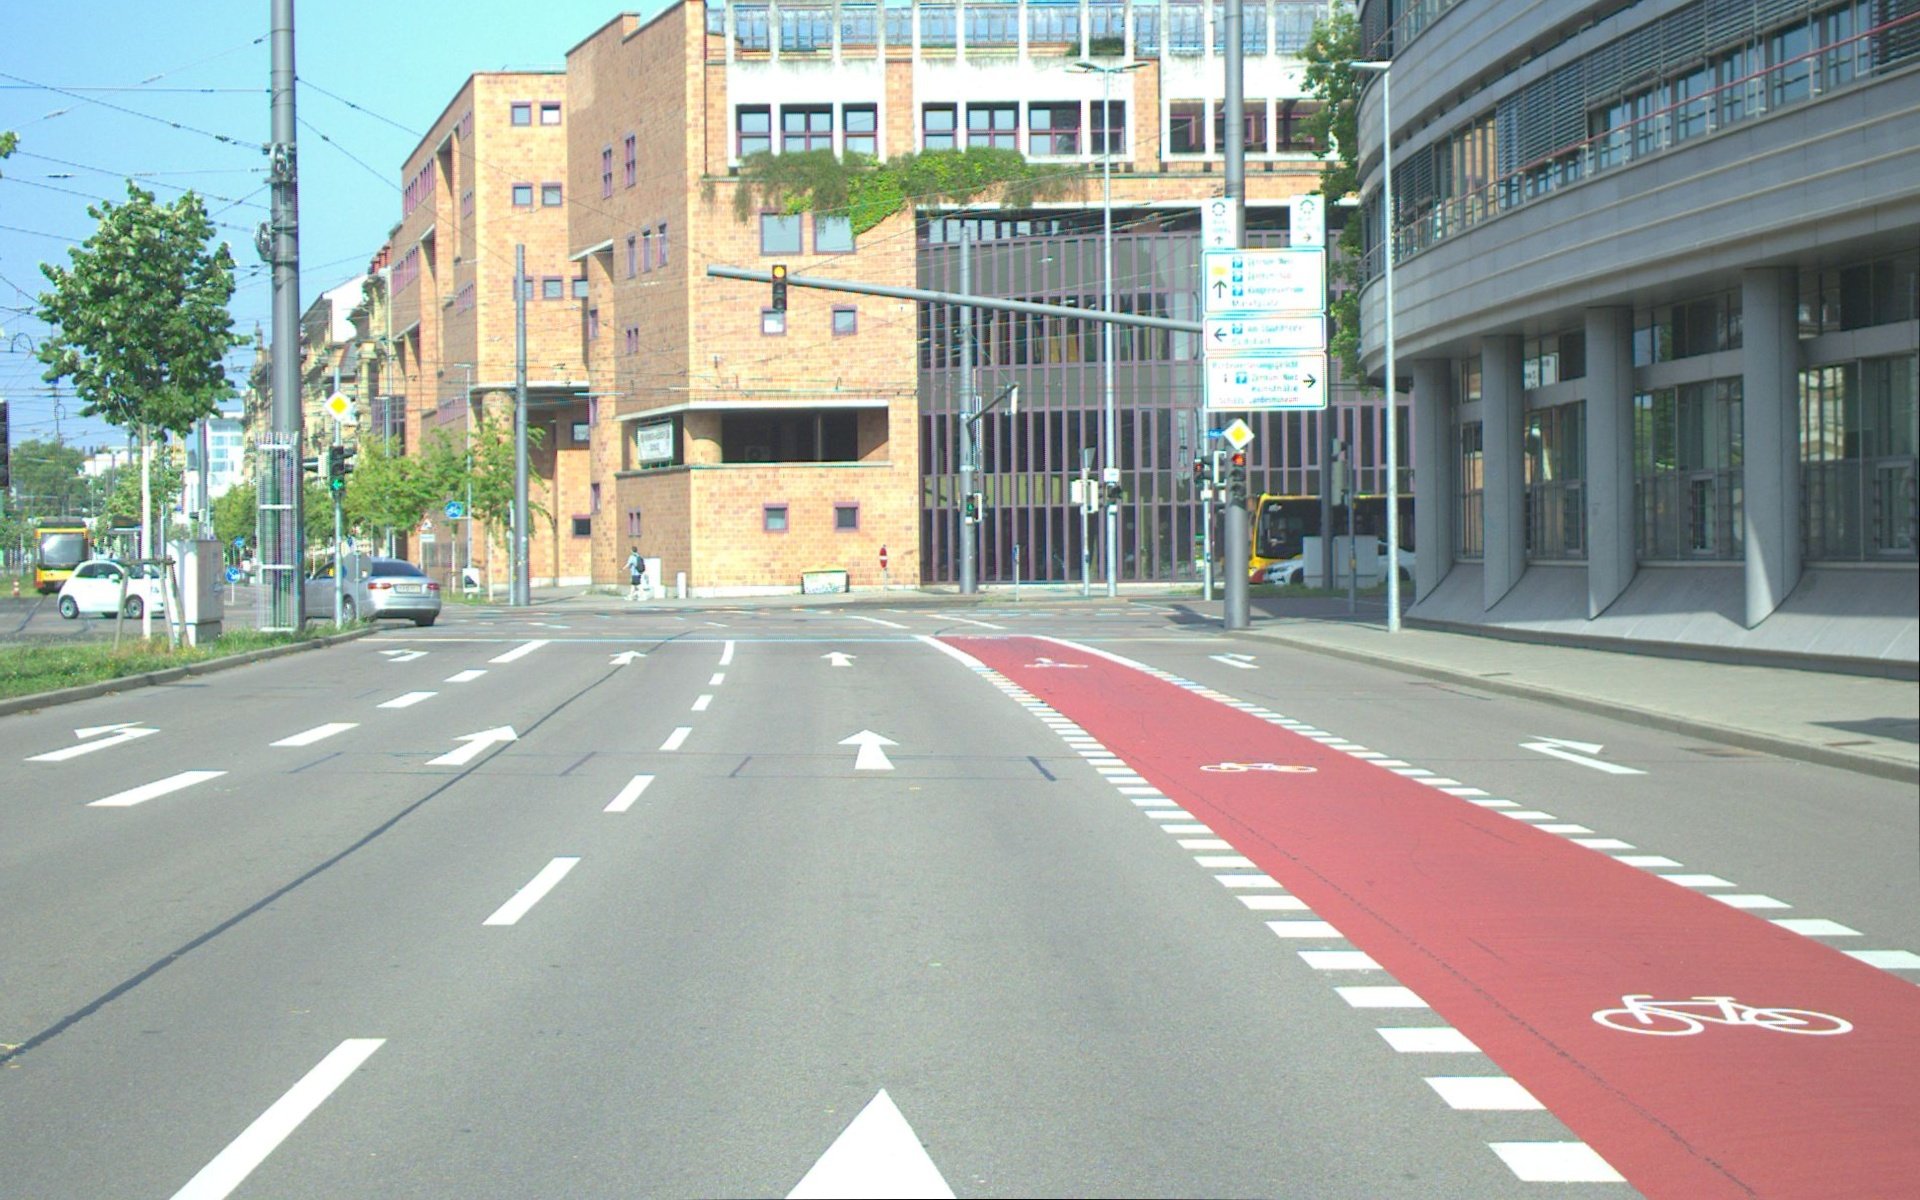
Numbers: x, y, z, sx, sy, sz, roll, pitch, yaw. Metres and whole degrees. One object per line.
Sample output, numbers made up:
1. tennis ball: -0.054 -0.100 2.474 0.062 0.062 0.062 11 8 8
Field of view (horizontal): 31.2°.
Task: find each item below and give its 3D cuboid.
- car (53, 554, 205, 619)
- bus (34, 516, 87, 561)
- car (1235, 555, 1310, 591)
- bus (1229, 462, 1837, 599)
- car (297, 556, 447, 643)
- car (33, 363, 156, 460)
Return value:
1. car: -20.821 -0.322 86.137 3.442 1.536 1.732 -1 -1 30
2. bus: -41.077 -2.780 156.886 1.993 2.007 4.001 -1 1 -19
3. car: 8.931 -0.761 98.264 1.951 0.955 1.094 1 -2 -6
4. bus: 16.986 -2.055 102.482 17.607 3.797 2.865 -1 -1 -3
5. car: -12.179 0.000 71.056 1.705 1.749 3.890 -1 0 -32
6. car: -20.461 -4.433 81.401 1.993 2.007 4.243 -1 -1 -2
